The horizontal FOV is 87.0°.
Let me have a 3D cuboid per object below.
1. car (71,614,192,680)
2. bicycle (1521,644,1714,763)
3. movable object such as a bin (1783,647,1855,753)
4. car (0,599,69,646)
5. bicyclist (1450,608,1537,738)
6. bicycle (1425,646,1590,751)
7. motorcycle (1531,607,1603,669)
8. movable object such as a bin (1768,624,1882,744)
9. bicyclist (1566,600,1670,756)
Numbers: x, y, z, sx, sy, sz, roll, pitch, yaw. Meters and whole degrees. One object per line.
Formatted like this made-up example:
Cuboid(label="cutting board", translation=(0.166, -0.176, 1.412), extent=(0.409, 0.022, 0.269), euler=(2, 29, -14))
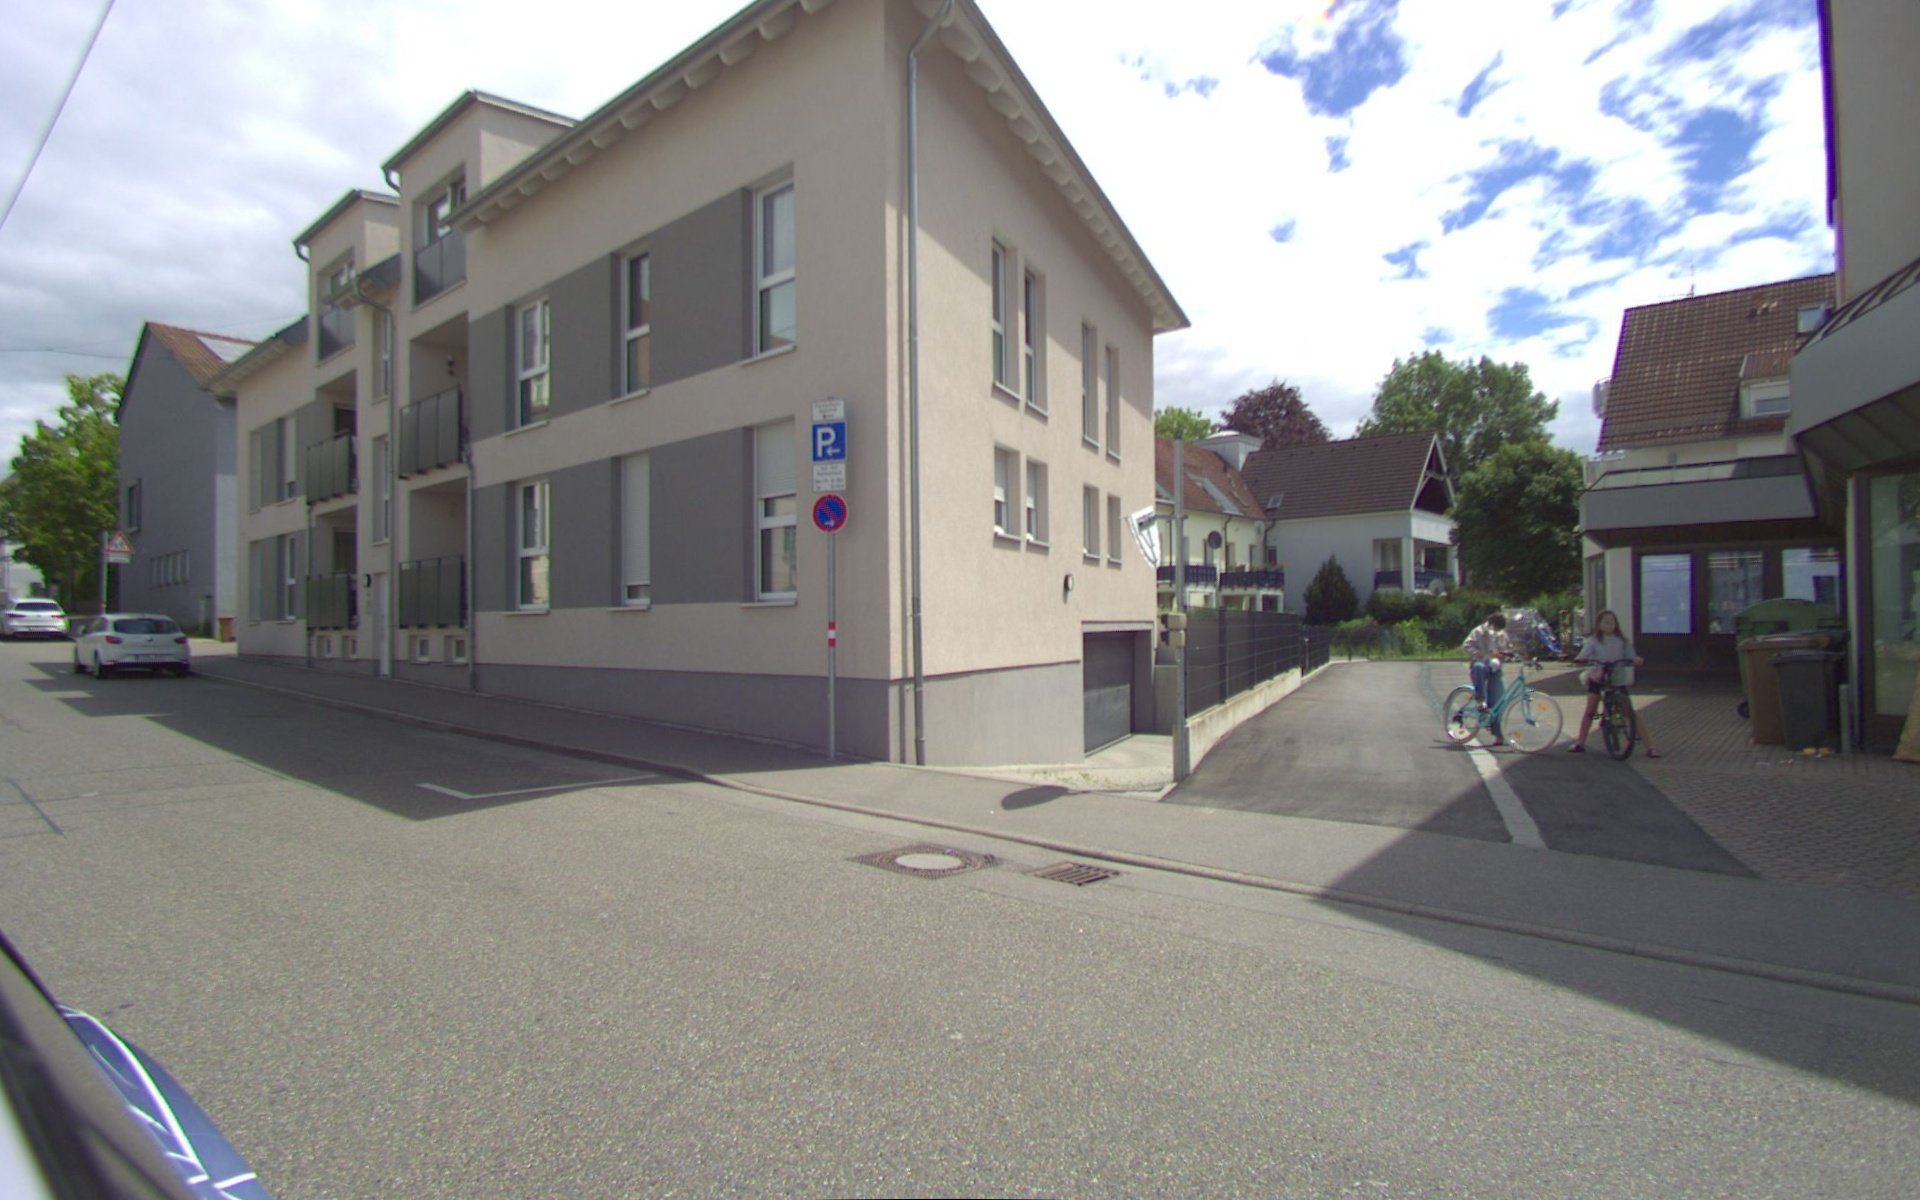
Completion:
Cuboid(label="car", translation=(-19.104, 1.024, 23.297), extent=(3.473, 1.340, 1.644), euler=(1, 0, 42))
Cuboid(label="bicycle", translation=(6.032, 0.912, 9.411), extent=(0.547, 0.961, 1.693), euler=(-2, -2, -5))
Cuboid(label="movable object such as a bin", translation=(7.848, 0.903, 9.253), extent=(0.443, 0.918, 0.403), euler=(-5, -3, 41))
Cuboid(label="car", translation=(-32.536, 0.759, 35.277), extent=(4.066, 1.499, 1.714), euler=(1, -1, 42))
Cuboid(label="bicyclist", translation=(5.330, 0.713, 10.127), extent=(0.631, 1.251, 0.428), euler=(0, 0, -16))
Cuboid(label="bicycle", translation=(5.363, 0.930, 10.018), extent=(0.451, 0.924, 1.593), euler=(-1, -2, -13))
Cuboid(label="motorcycle", translation=(16.105, 0.966, 26.792), extent=(0.860, 1.530, 3.567), euler=(-2, -2, 44))
Cuboid(label="movable object such as a bin", translation=(8.295, 0.795, 9.722), extent=(0.737, 1.073, 0.677), euler=(-5, -3, 41))
Cuboid(label="bicyclist", translation=(6.062, 0.710, 9.334), extent=(0.580, 1.376, 0.425), euler=(-2, -3, -5))
